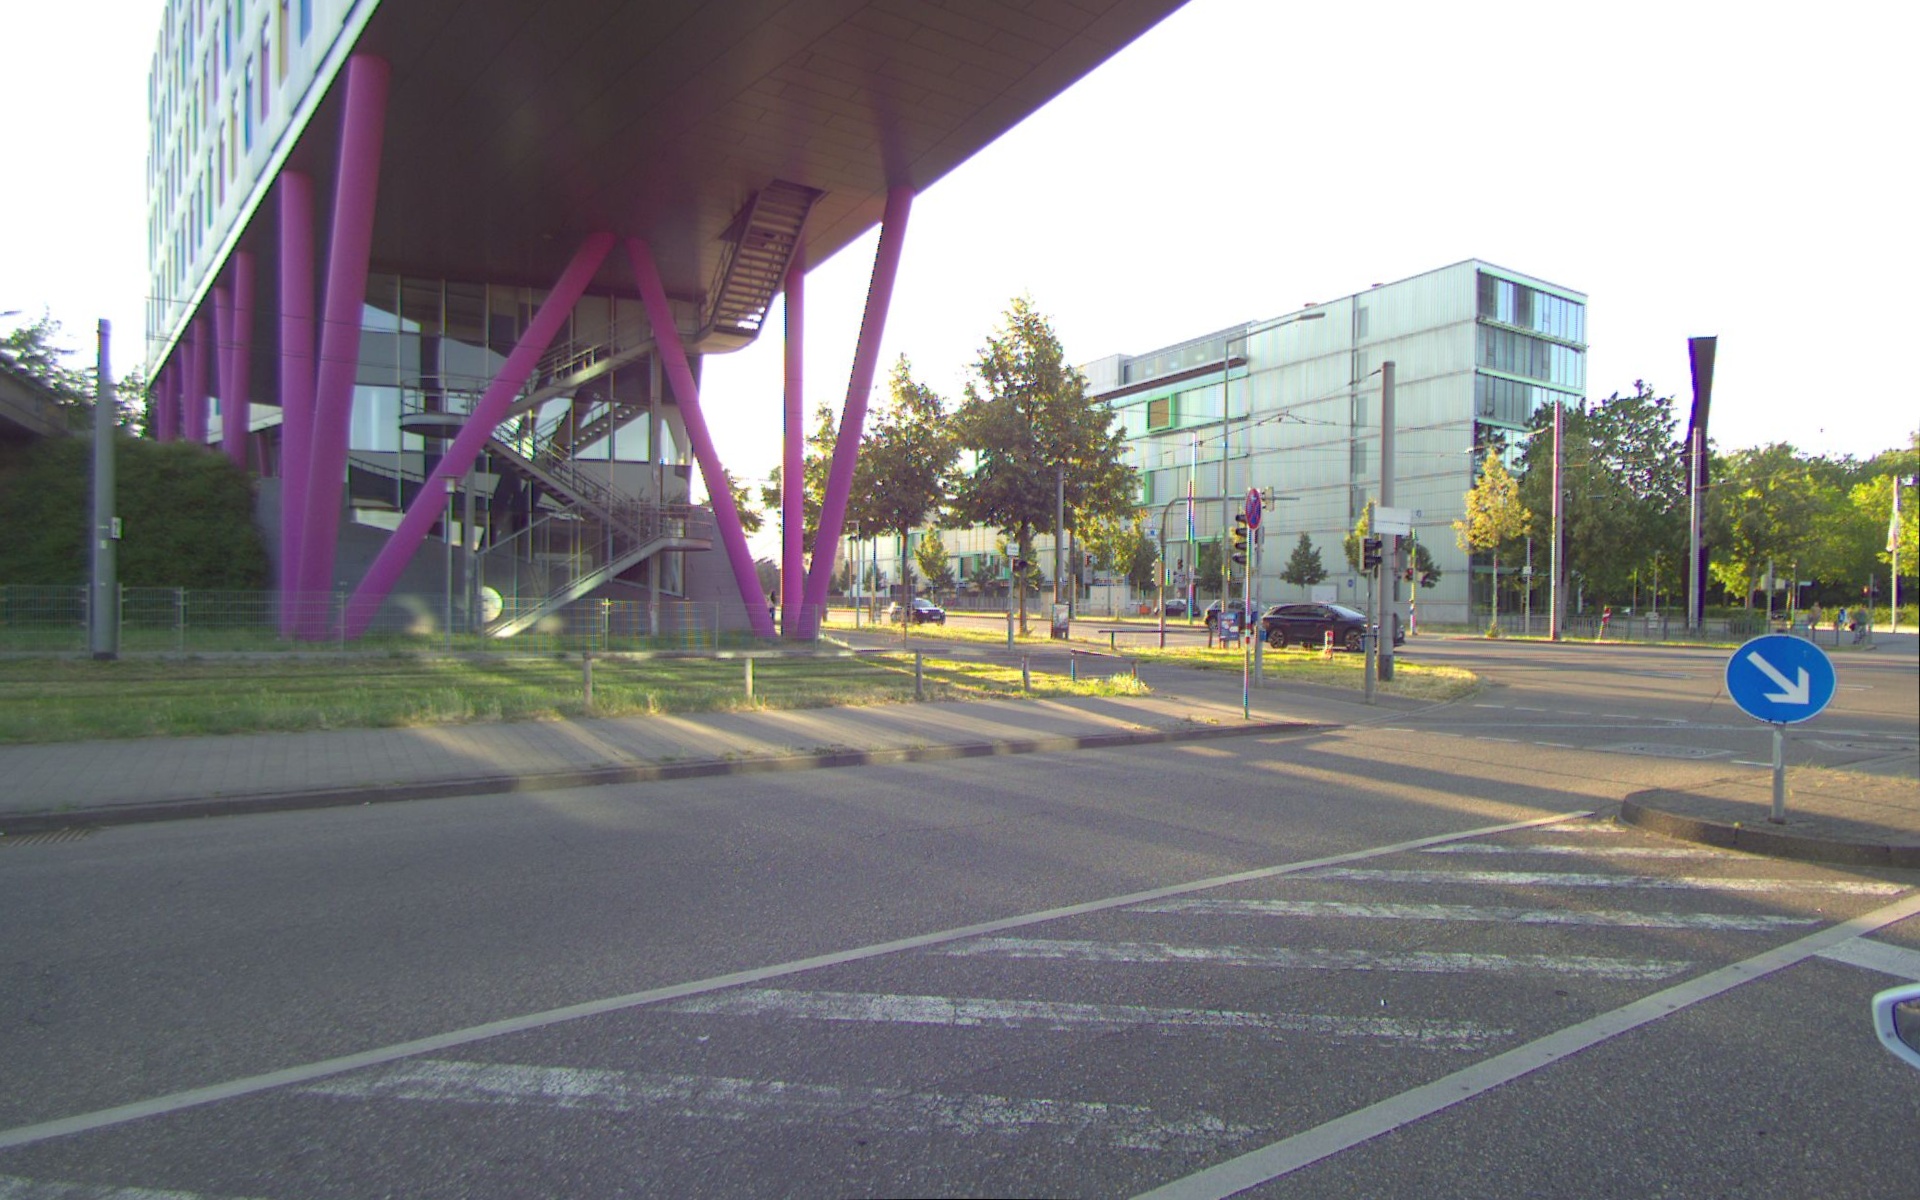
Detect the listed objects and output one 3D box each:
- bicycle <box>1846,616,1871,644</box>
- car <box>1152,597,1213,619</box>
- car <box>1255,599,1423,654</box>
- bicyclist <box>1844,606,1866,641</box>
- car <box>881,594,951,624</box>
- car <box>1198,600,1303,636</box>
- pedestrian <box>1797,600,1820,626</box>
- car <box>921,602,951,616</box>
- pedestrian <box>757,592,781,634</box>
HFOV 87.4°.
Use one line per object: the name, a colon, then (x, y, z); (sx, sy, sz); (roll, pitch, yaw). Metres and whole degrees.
bicycle: (45.307, 1.488, 50.672); (0.720, 1.359, 2.680); (1, 0, 37)
car: (16.430, 0.592, 74.333); (1.786, 1.516, 4.304); (2, -1, -34)
car: (12.139, 0.798, 32.526); (1.979, 1.636, 4.878); (1, 0, -33)
bicyclist: (45.138, 1.199, 50.677); (0.741, 1.732, 0.916); (1, 0, 39)
car: (-2.489, 0.484, 55.537); (1.977, 1.595, 4.411); (1, 0, -31)
car: (13.288, 0.796, 46.197); (1.968, 1.577, 4.448); (1, 0, -34)
pedestrian: (56.652, 0.864, 67.058); (0.814, 1.767, 0.863); (1, 0, 2)
car: (-2.841, 1.061, 118.147); (1.782, 1.516, 4.314); (2, -1, -28)
pedestrian: (-8.051, 0.542, 42.369); (0.916, 1.747, 0.882); (0, -2, -8)
